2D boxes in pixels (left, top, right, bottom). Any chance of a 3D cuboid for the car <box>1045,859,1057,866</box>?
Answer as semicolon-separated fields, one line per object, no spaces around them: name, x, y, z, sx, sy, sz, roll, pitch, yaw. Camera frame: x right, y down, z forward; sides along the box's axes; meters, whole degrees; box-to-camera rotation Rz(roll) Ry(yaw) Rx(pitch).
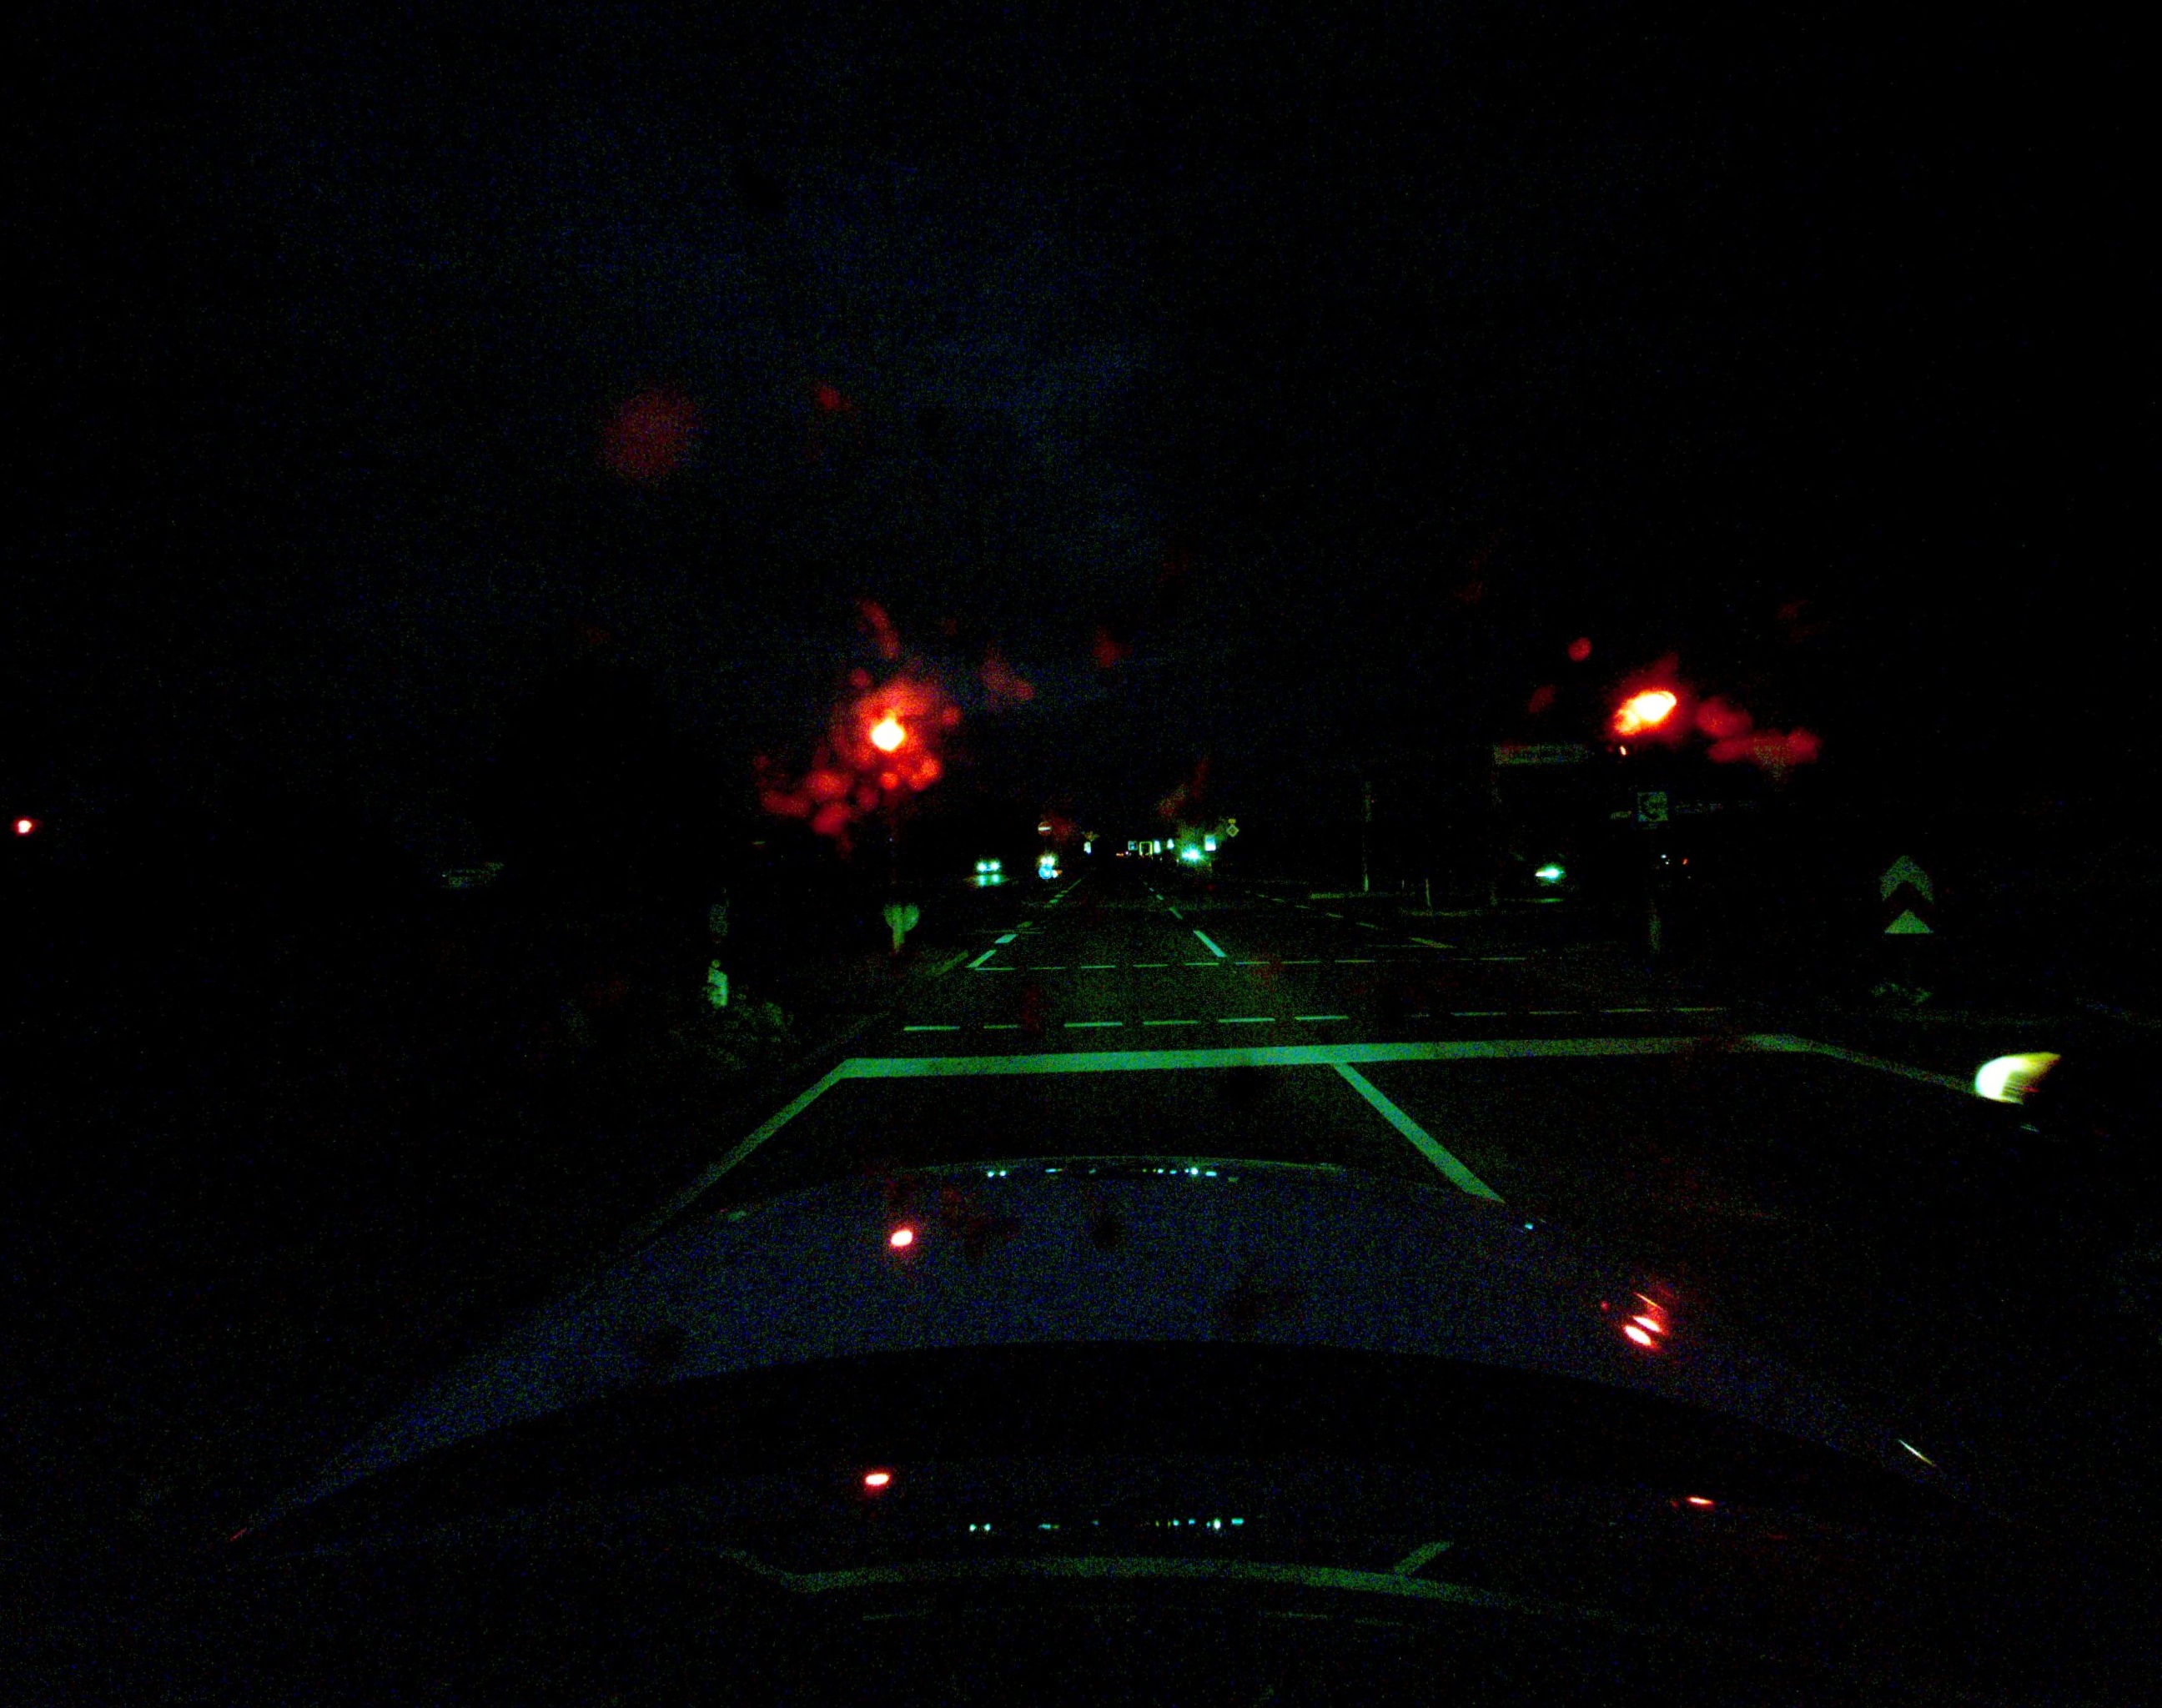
car;-5.989;1.644;161.753;1.986;1.387;4.002;-2;0;2

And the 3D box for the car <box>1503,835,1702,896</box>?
car;15.453;0.335;24.325;4.583;1.520;2.001;-3;0;2

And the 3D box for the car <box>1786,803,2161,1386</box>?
car;3.584;0.613;1.214;1.663;1.520;4.109;-1;0;3

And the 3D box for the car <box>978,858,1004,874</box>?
car;-9.249;1.246;84.091;1.986;1.519;4.299;-2;0;2
